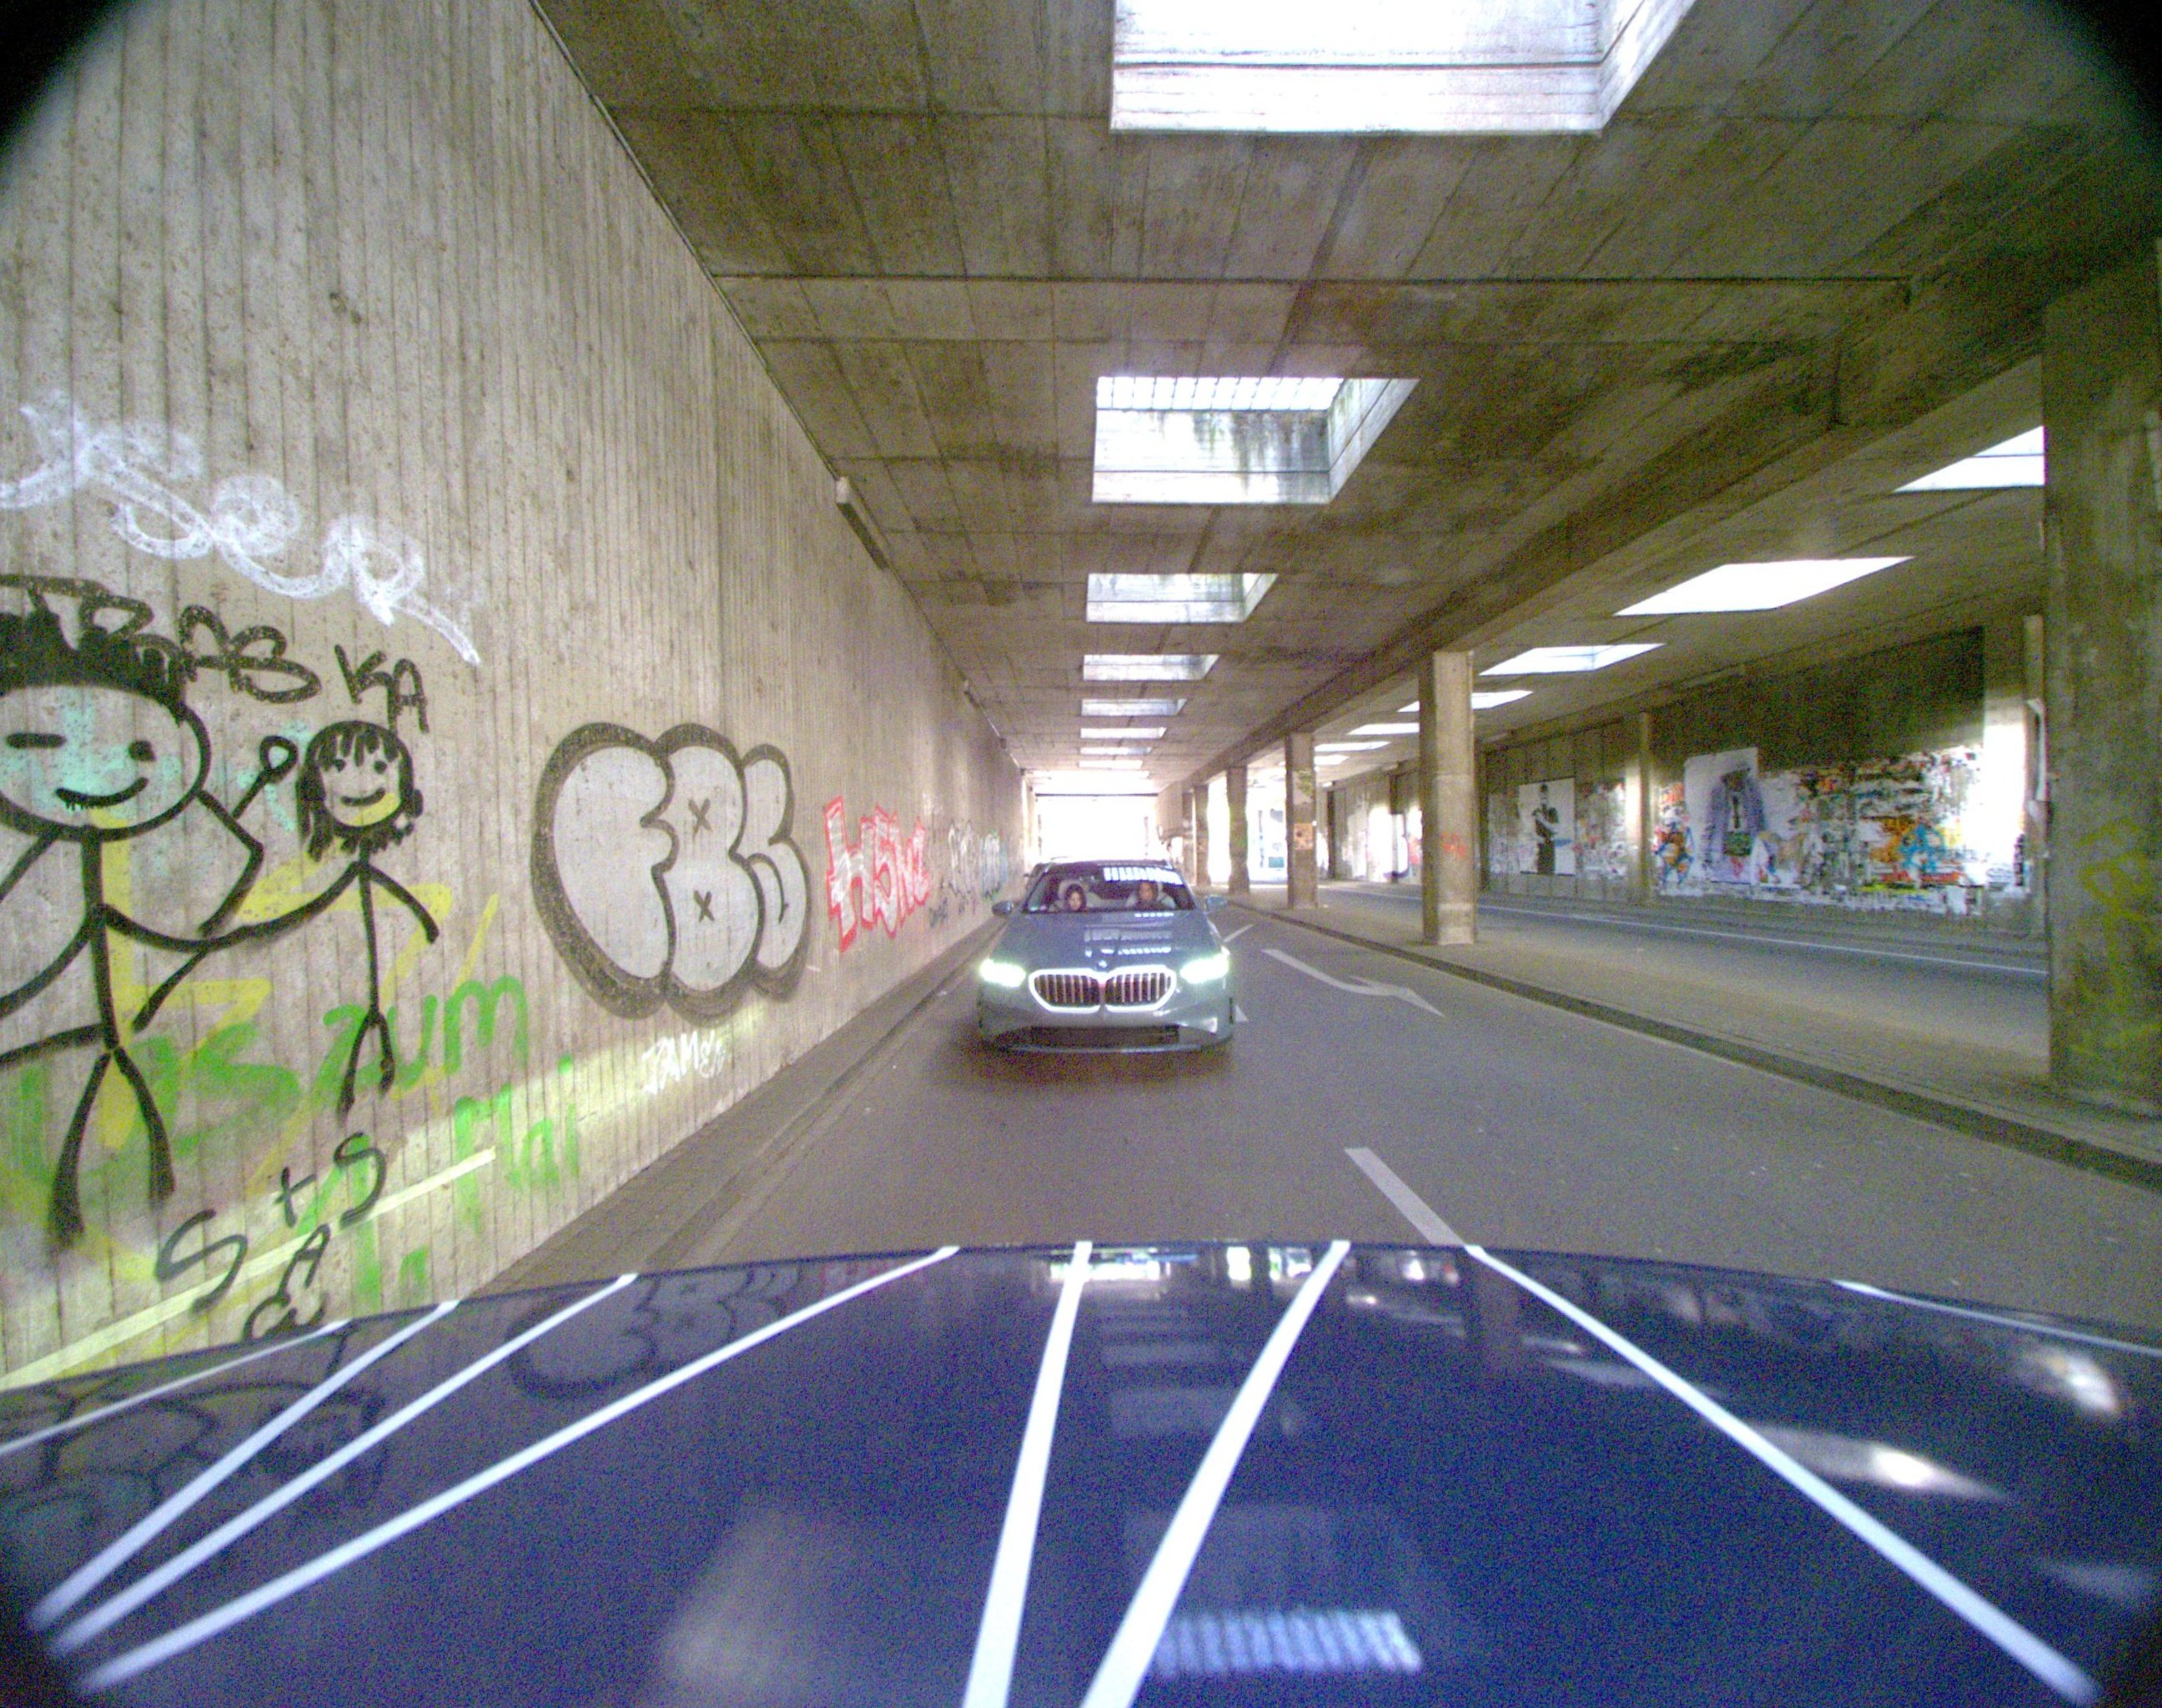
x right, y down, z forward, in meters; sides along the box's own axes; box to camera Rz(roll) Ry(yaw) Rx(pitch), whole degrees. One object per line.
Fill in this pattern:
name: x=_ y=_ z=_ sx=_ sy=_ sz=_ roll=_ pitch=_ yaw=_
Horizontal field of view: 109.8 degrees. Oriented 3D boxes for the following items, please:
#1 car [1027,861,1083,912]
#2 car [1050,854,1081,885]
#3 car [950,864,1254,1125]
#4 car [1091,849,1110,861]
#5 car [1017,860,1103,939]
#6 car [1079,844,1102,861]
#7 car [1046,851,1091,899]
car: x=-0.767 y=0.956 z=23.906 sx=1.592 sy=1.432 sz=3.806 roll=-2 pitch=0 yaw=0
car: x=-0.813 y=0.815 z=41.240 sx=1.592 sy=1.562 sz=3.694 roll=-2 pitch=0 yaw=0
car: x=0.122 y=0.912 z=7.271 sx=1.861 sy=1.516 sz=5.042 roll=-2 pitch=0 yaw=0
car: x=2.472 y=0.155 z=97.960 sx=1.741 sy=1.519 sz=3.786 roll=-2 pitch=0 yaw=-9
car: x=-0.431 y=0.927 z=17.280 sx=1.679 sy=1.516 sz=3.969 roll=-2 pitch=0 yaw=0
car: x=1.275 y=-0.175 z=103.652 sx=2.161 sy=2.150 sz=4.785 roll=-2 pitch=0 yaw=-12
car: x=-0.469 y=0.780 z=29.913 sx=1.592 sy=1.711 sz=3.694 roll=-2 pitch=0 yaw=0
